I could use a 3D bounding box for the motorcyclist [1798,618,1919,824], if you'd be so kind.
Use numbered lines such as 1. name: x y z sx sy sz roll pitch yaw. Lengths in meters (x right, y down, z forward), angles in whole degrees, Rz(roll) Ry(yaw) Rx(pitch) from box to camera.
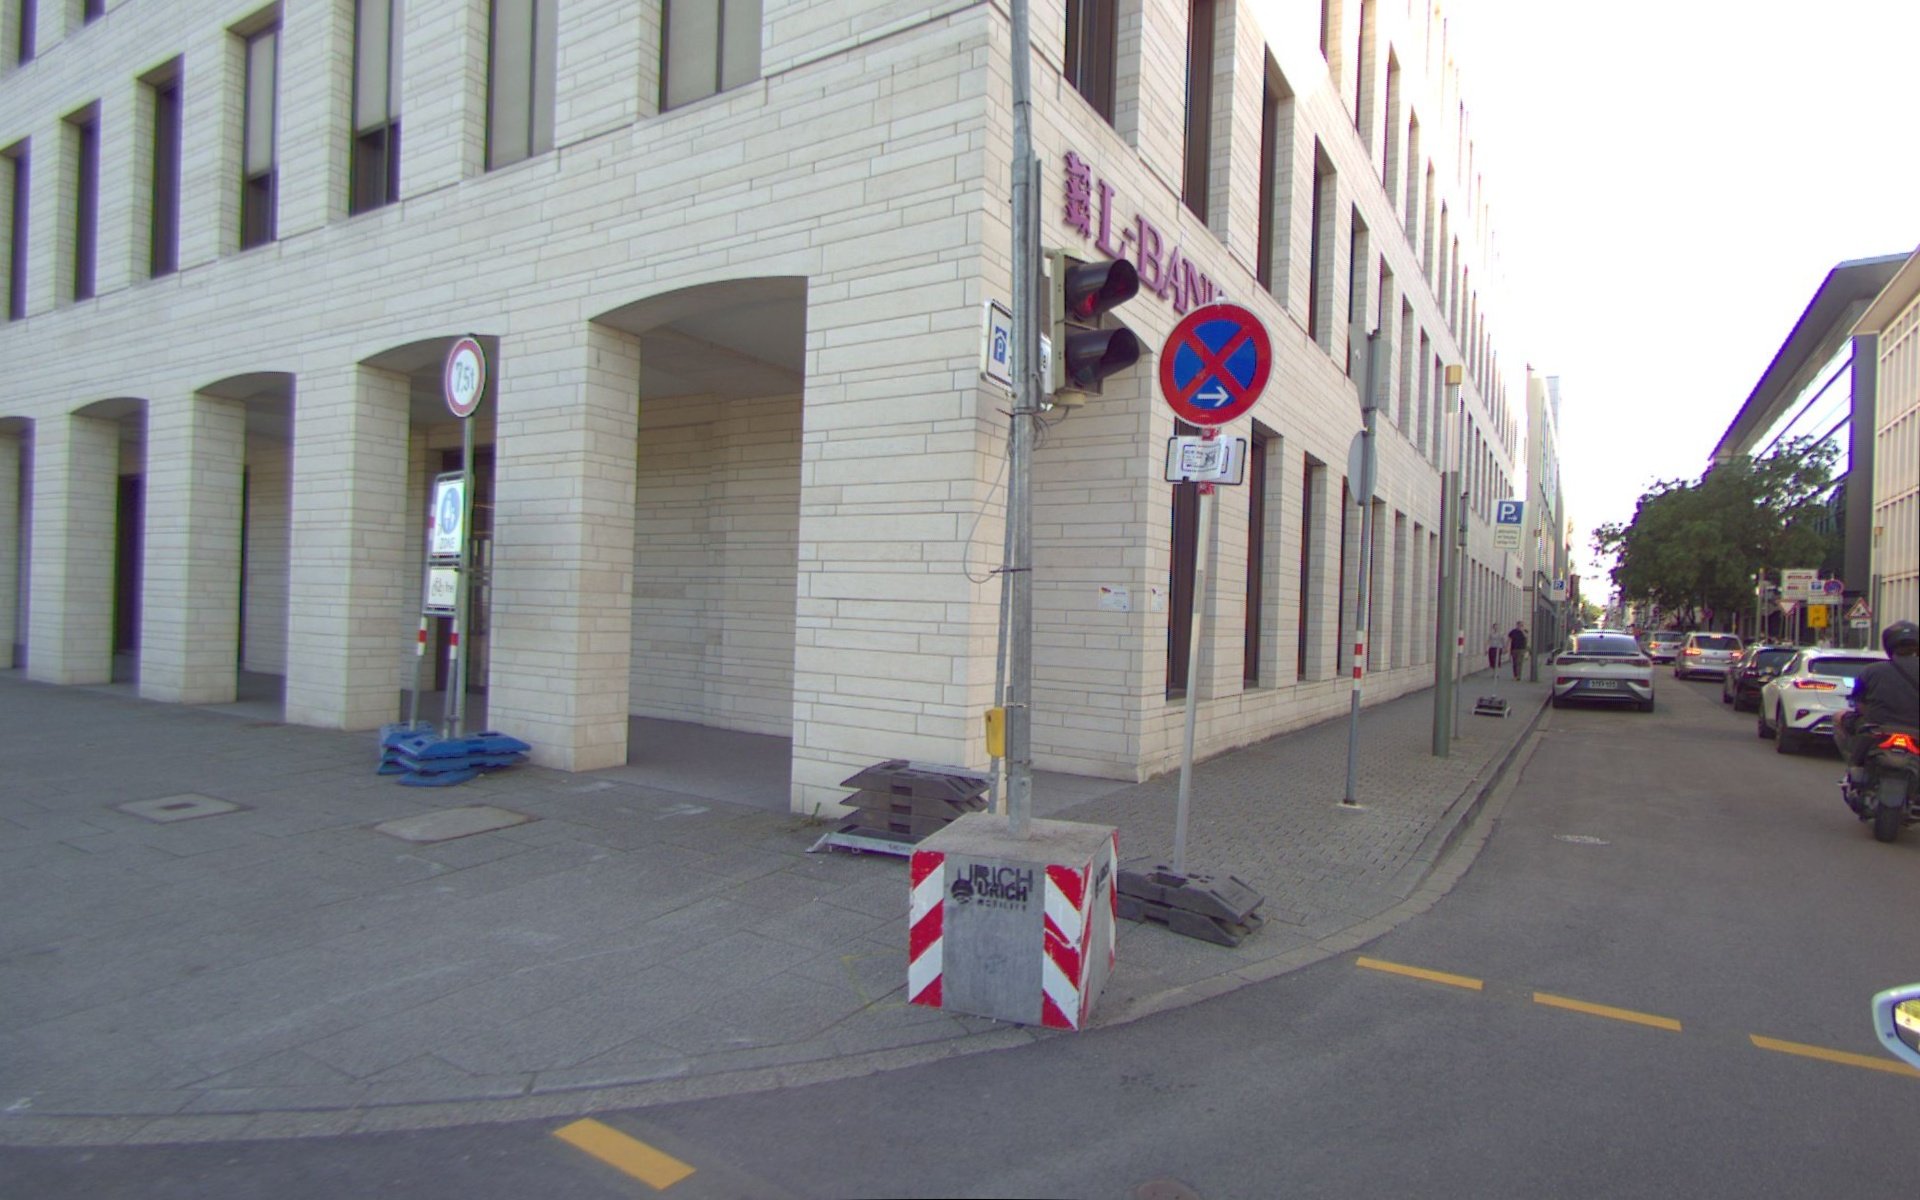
1. motorcyclist: 7.693 0.964 8.373 1.230 1.580 0.945 3 -2 -43

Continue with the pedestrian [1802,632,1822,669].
1. pedestrian: 39.026 2.308 45.994 0.634 1.622 0.618 1 -1 35

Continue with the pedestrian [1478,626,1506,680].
1. pedestrian: 16.708 1.651 31.554 0.694 1.635 0.858 1 -1 33

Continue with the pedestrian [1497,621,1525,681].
1. pedestrian: 16.853 1.552 30.727 0.694 1.810 0.725 1 -1 33

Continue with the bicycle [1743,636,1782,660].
1. bicycle: 43.873 2.606 54.932 0.547 1.266 1.552 2 -1 -36

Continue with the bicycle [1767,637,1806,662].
1. bicycle: 45.411 2.715 55.215 0.547 1.266 1.552 2 -1 -36

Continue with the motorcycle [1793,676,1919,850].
1. motorcycle: 7.778 1.278 8.448 2.561 1.199 0.897 3 -2 -44

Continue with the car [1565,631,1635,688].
1. car: 20.189 1.819 31.722 1.785 1.667 3.506 0 -2 32

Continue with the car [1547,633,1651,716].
1. car: 14.209 1.561 22.380 1.785 1.627 4.257 0 -2 32

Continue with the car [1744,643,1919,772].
1. car: 12.730 1.442 14.574 1.834 1.492 3.988 3 0 35

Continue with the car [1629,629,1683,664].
1. car: 34.849 2.290 50.378 1.871 1.617 3.992 2 -1 30

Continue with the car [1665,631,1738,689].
1. car: 26.341 2.074 35.791 1.898 1.881 3.988 1 -1 34

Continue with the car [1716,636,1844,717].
1. car: 18.023 1.602 22.245 1.749 1.571 4.095 1 -1 33

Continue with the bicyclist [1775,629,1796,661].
1. bicyclist: 45.397 2.473 55.252 0.730 1.729 0.742 2 -1 -36
